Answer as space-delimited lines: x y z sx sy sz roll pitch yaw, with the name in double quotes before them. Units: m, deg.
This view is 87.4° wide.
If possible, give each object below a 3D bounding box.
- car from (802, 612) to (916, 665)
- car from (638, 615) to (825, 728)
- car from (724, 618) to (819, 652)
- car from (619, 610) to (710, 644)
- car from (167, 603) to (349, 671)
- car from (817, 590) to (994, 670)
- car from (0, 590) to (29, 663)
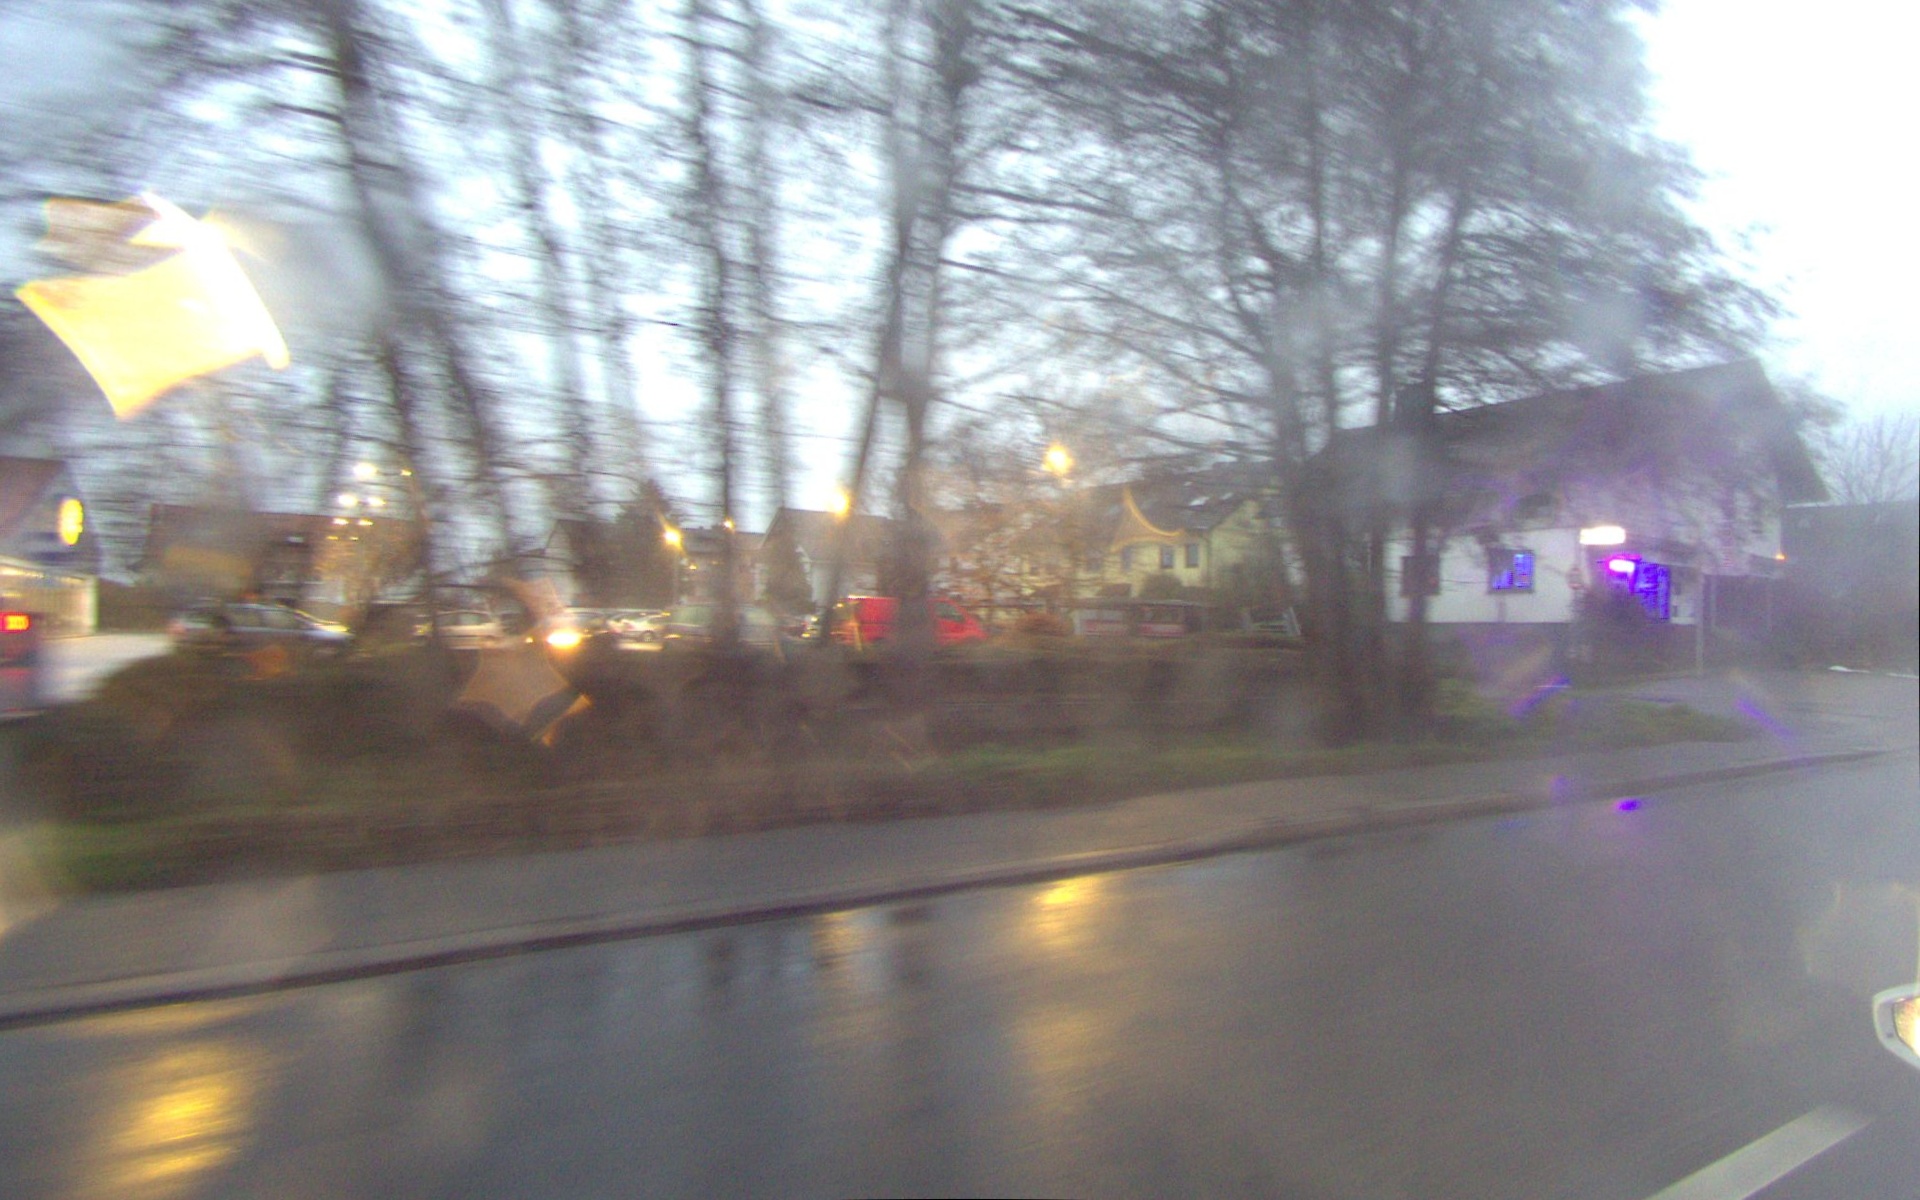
"car" -3.592 1.336 35.912 3.672 1.662 1.683 0 3 -35
"car" -5.096 1.427 21.957 2.111 2.003 4.605 0 2 -41
"car" -7.370 1.348 39.323 3.358 1.146 1.550 0 3 -35
"car" -16.064 1.421 54.653 4.466 1.662 1.921 0 3 -31
"car" -19.177 0.944 27.491 3.966 1.639 1.896 -1 2 -39
"car" -1.678 0.865 31.925 5.215 2.310 2.266 0 2 -34
"car" -24.067 0.614 24.464 1.955 1.694 4.363 0 0 -44
